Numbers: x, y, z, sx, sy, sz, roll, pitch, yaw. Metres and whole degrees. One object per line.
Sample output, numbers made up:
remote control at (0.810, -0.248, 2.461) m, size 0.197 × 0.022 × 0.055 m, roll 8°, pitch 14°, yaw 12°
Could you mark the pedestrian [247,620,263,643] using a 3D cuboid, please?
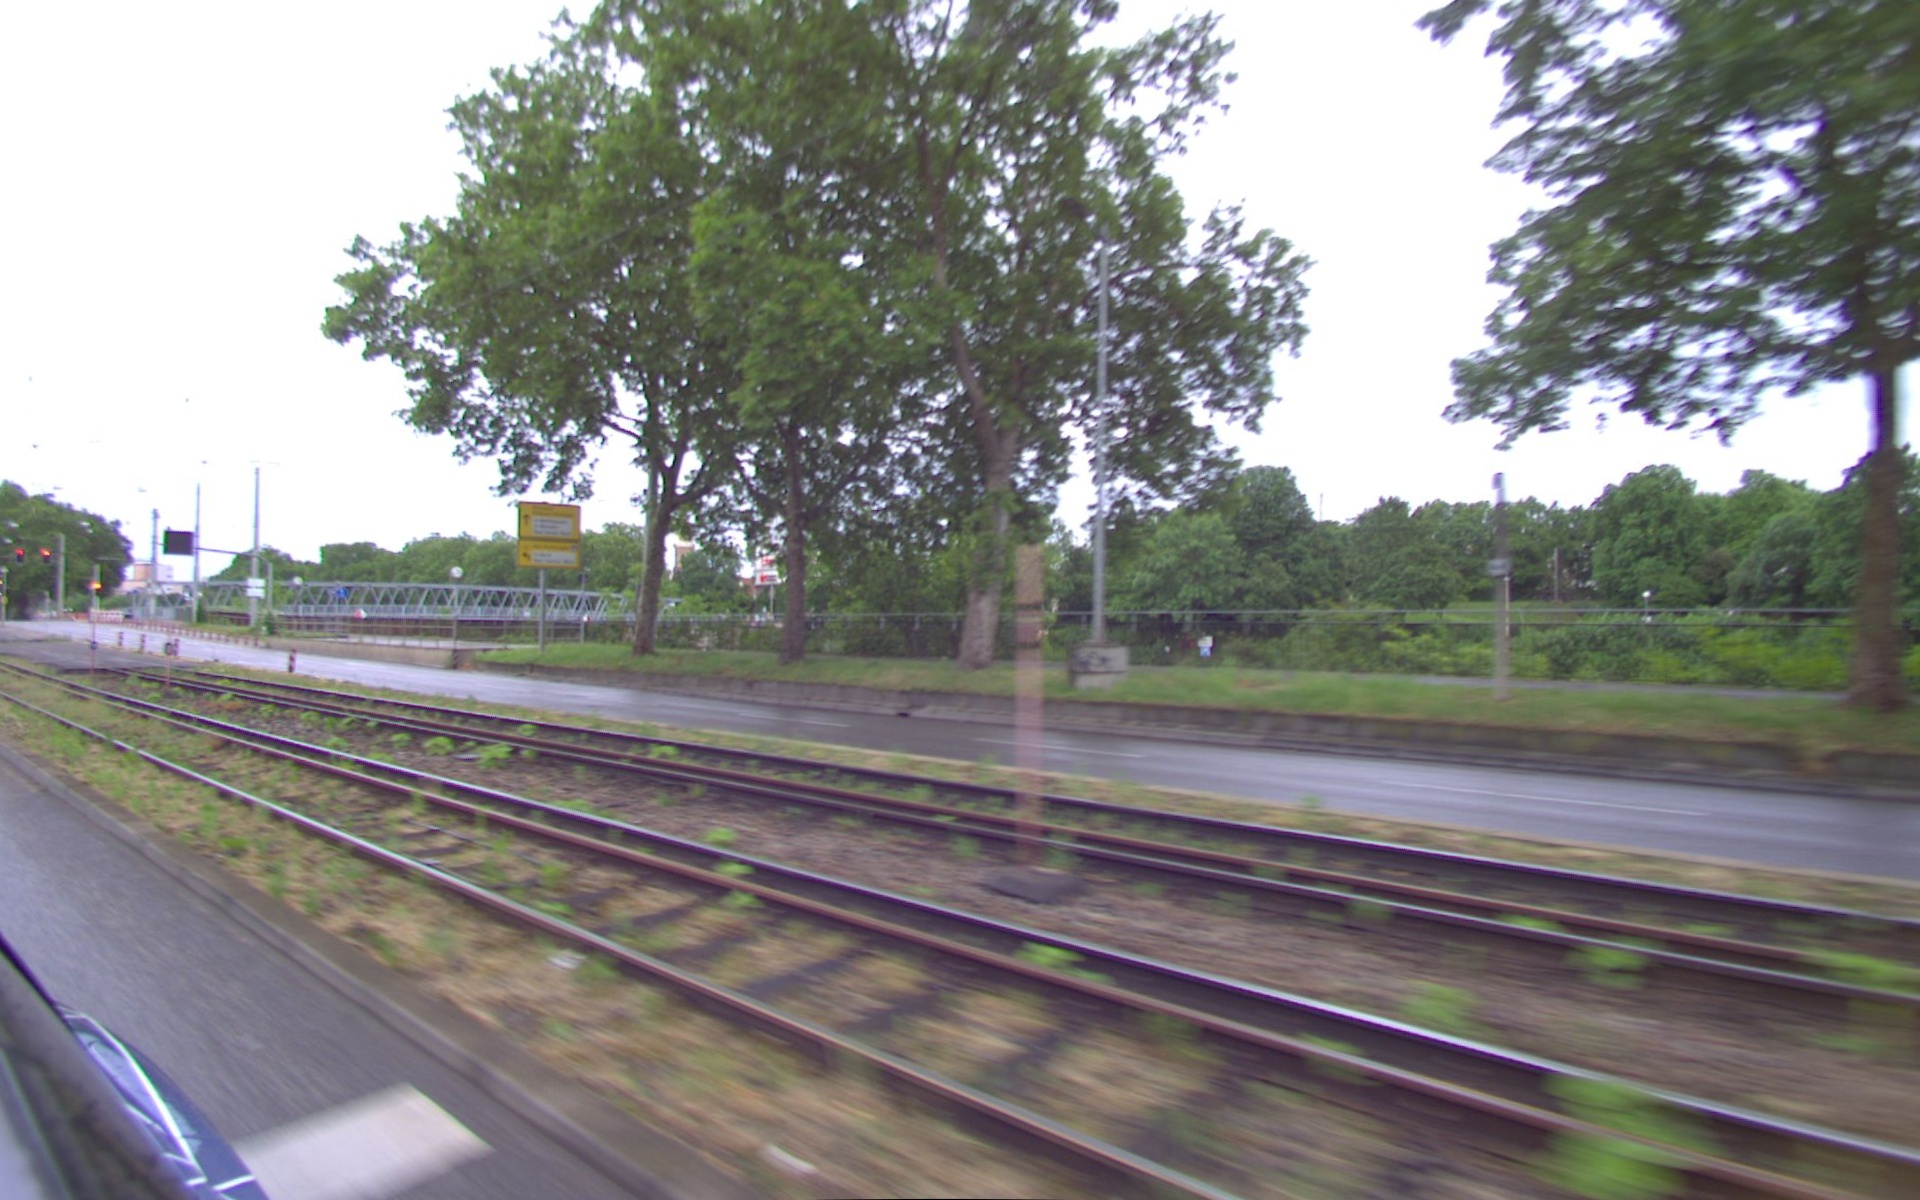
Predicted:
pedestrian at (-51.051, 2.291, 73.313) m, size 0.618 × 1.700 × 0.757 m, roll -1°, pitch -2°, yaw 40°
